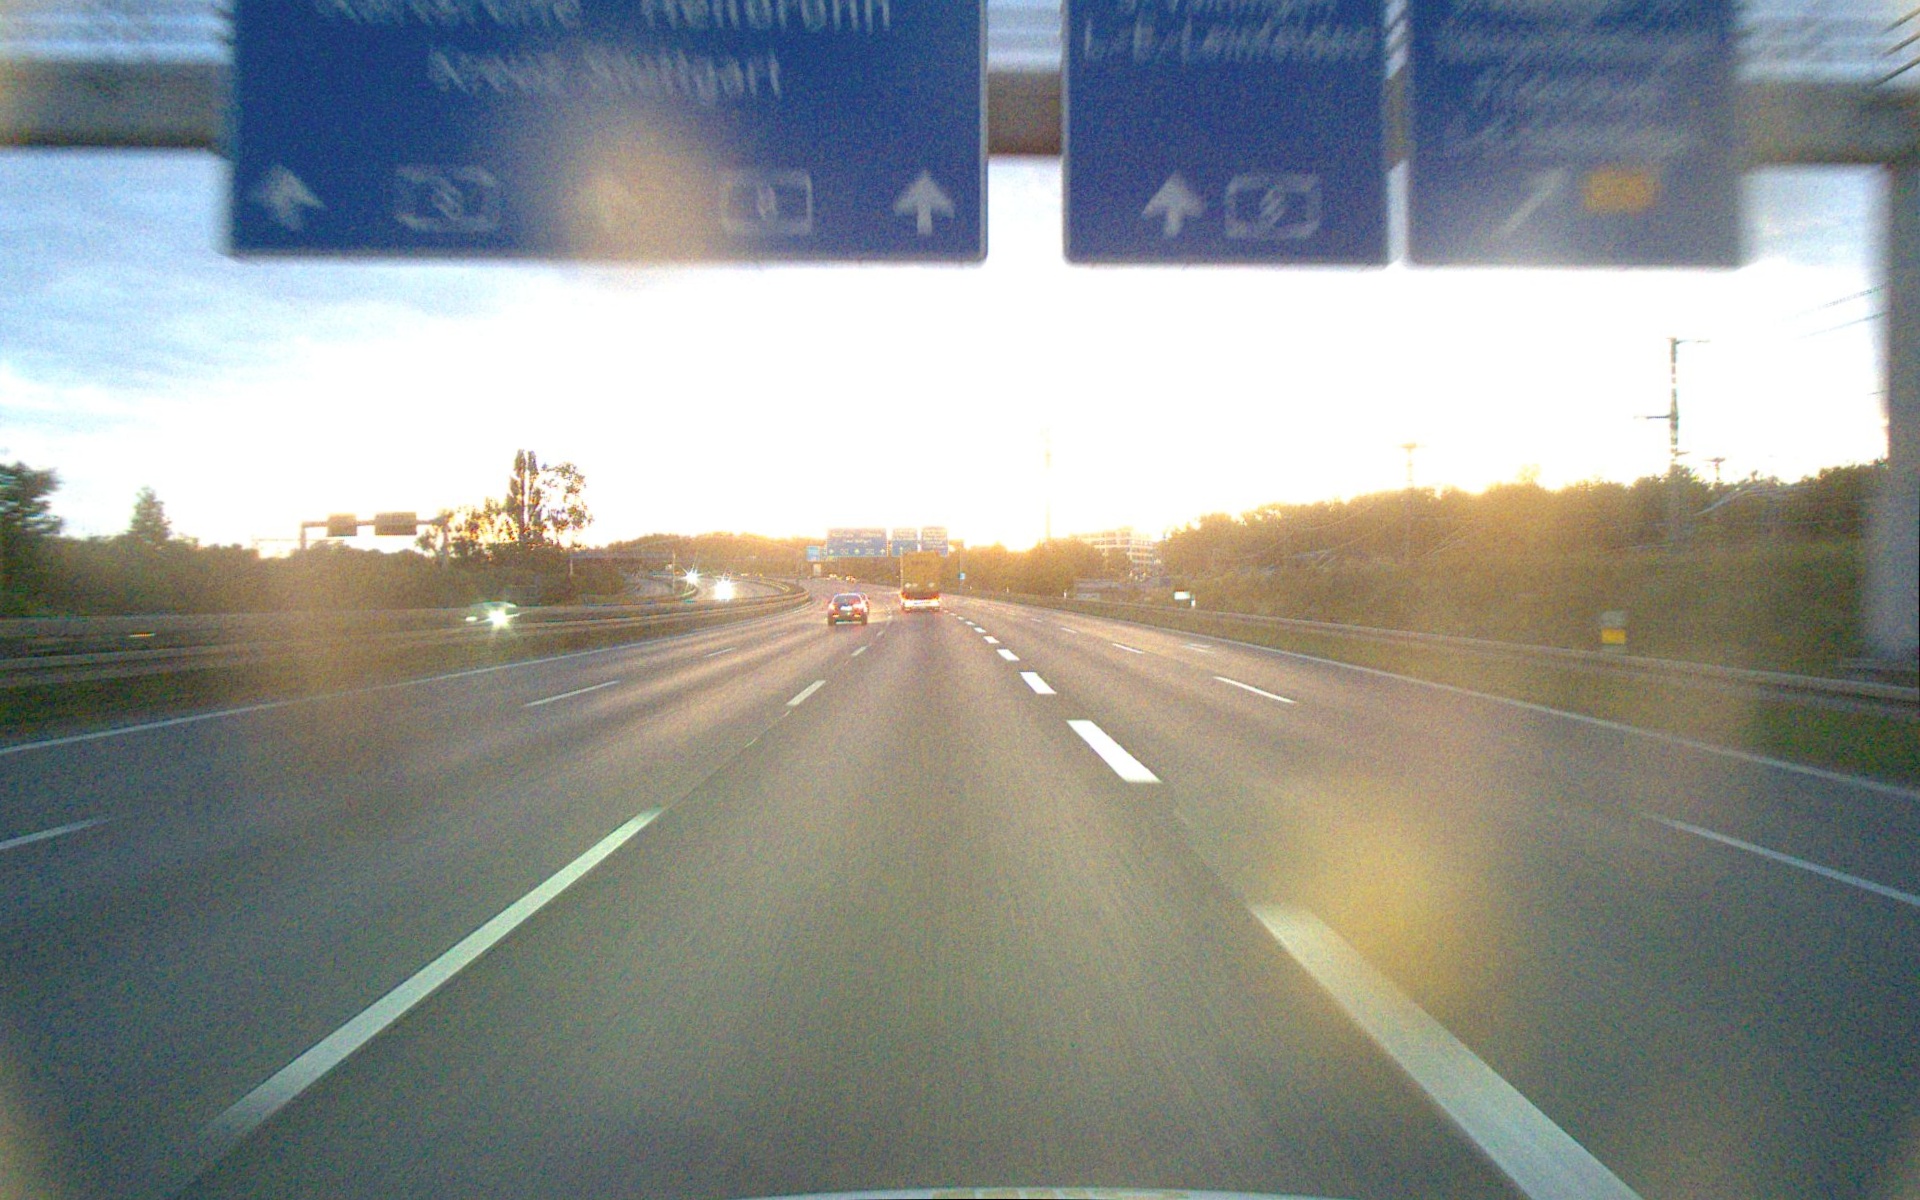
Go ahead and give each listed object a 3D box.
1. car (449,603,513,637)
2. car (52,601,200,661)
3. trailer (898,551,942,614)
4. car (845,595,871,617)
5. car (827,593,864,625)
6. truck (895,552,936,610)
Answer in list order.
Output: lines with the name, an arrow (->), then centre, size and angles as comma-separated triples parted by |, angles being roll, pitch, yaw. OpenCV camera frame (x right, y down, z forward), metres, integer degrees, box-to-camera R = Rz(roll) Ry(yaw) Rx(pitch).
car -> -21.874, 0.926, 75.692 | 1.655, 1.426, 4.428 | 2, -1, -1
car -> -21.723, 0.809, 43.269 | 1.655, 1.426, 4.428 | 2, -1, -1
trailer -> -2.852, -1.243, 115.563 | 2.668, 4.142, 8.826 | -2, 1, -3
car -> -7.058, 0.440, 114.994 | 1.656, 1.426, 3.407 | -3, 0, -3
car -> -5.466, 0.411, 78.839 | 1.656, 1.426, 3.405 | -2, 0, -5
truck -> -3.433, -1.500, 125.209 | 2.637, 4.142, 10.514 | -2, 1, -3
